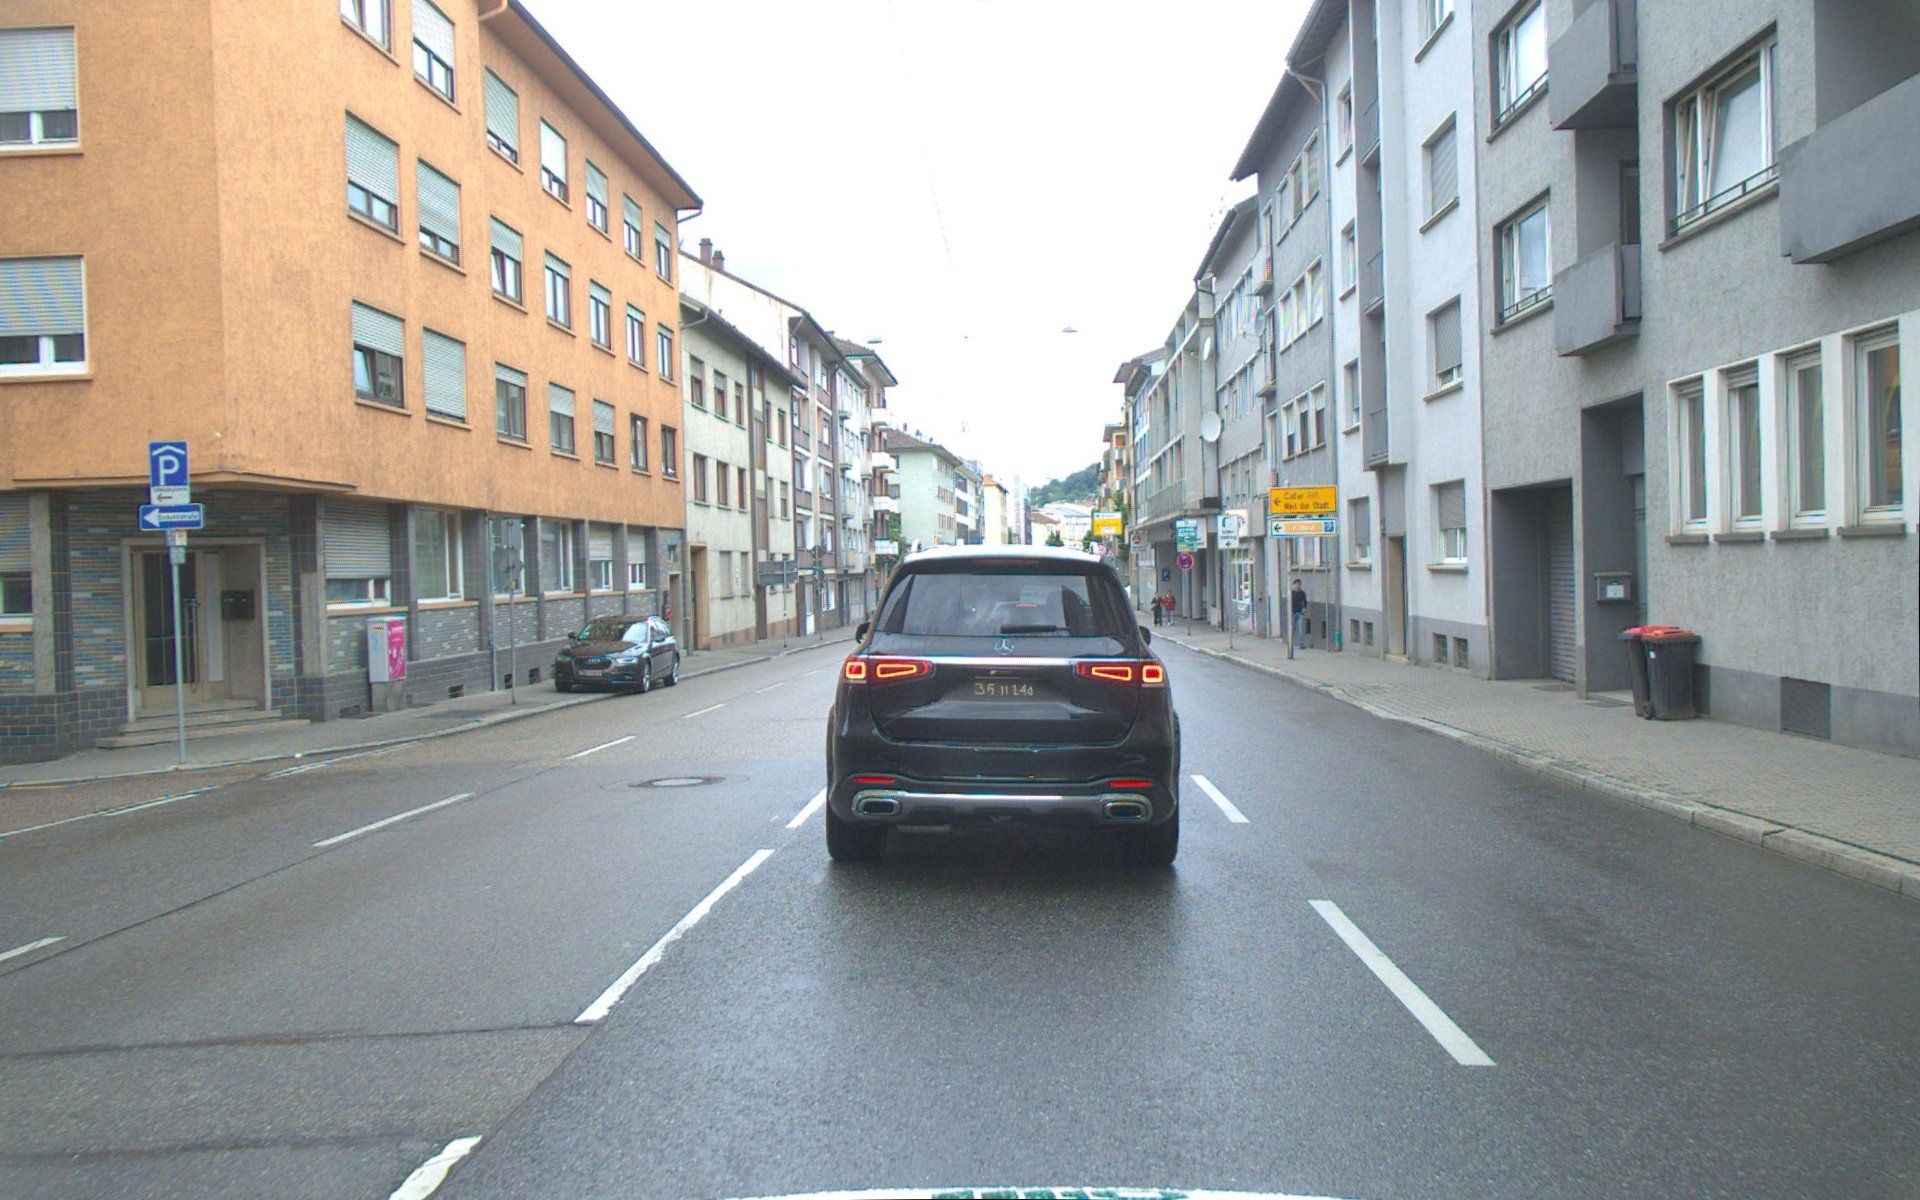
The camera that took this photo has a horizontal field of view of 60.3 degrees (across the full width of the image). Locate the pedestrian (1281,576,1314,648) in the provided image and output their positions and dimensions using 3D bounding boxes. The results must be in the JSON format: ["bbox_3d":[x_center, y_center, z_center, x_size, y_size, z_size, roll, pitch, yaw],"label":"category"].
[{"bbox_3d":[8.566,0.297,41.991,0.641,1.782,0.742,-4,0,7],"label":"pedestrian"}]

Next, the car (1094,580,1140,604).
[{"bbox_3d":[13.700,-0.691,144.281,3.902,2.049,2.001,0,1,5],"label":"car"}]

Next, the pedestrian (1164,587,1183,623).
[{"bbox_3d":[9.721,0.220,75.287,0.803,1.592,0.900,0,0,5],"label":"pedestrian"}]

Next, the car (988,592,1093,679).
[{"bbox_3d":[1.510,0.640,32.315,1.854,1.537,4.173,1,1,0],"label":"car"}]

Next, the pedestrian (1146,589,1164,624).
[{"bbox_3d":[8.887,0.284,75.359,0.803,1.592,0.900,0,0,5],"label":"pedestrian"}]

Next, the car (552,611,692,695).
[{"bbox_3d":[-6.793,1.025,33.719,1.852,1.484,4.550,0,1,1],"label":"car"}]

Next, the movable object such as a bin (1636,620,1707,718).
[{"bbox_3d":[7.607,0.726,17.692,0.463,0.979,0.564,-5,0,4],"label":"movable object such as a bin"}]

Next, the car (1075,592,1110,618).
[{"bbox_3d":[7.373,0.263,92.408,1.698,1.412,4.584,0,1,1],"label":"car"}]

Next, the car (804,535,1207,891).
[{"bbox_3d":[0.283,0.538,10.680,2.033,1.796,4.612,0,1,1],"label":"car"}]

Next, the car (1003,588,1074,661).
[{"bbox_3d":[2.370,0.697,49.185,1.951,2.049,4.003,0,1,5],"label":"car"}]

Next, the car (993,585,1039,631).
[{"bbox_3d":[2.640,0.352,77.557,1.951,2.049,4.003,0,1,5],"label":"car"}]

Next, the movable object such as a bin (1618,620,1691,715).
[{"bbox_3d":[7.652,0.741,18.234,0.551,0.979,0.475,-5,0,5],"label":"movable object such as a bin"}]
